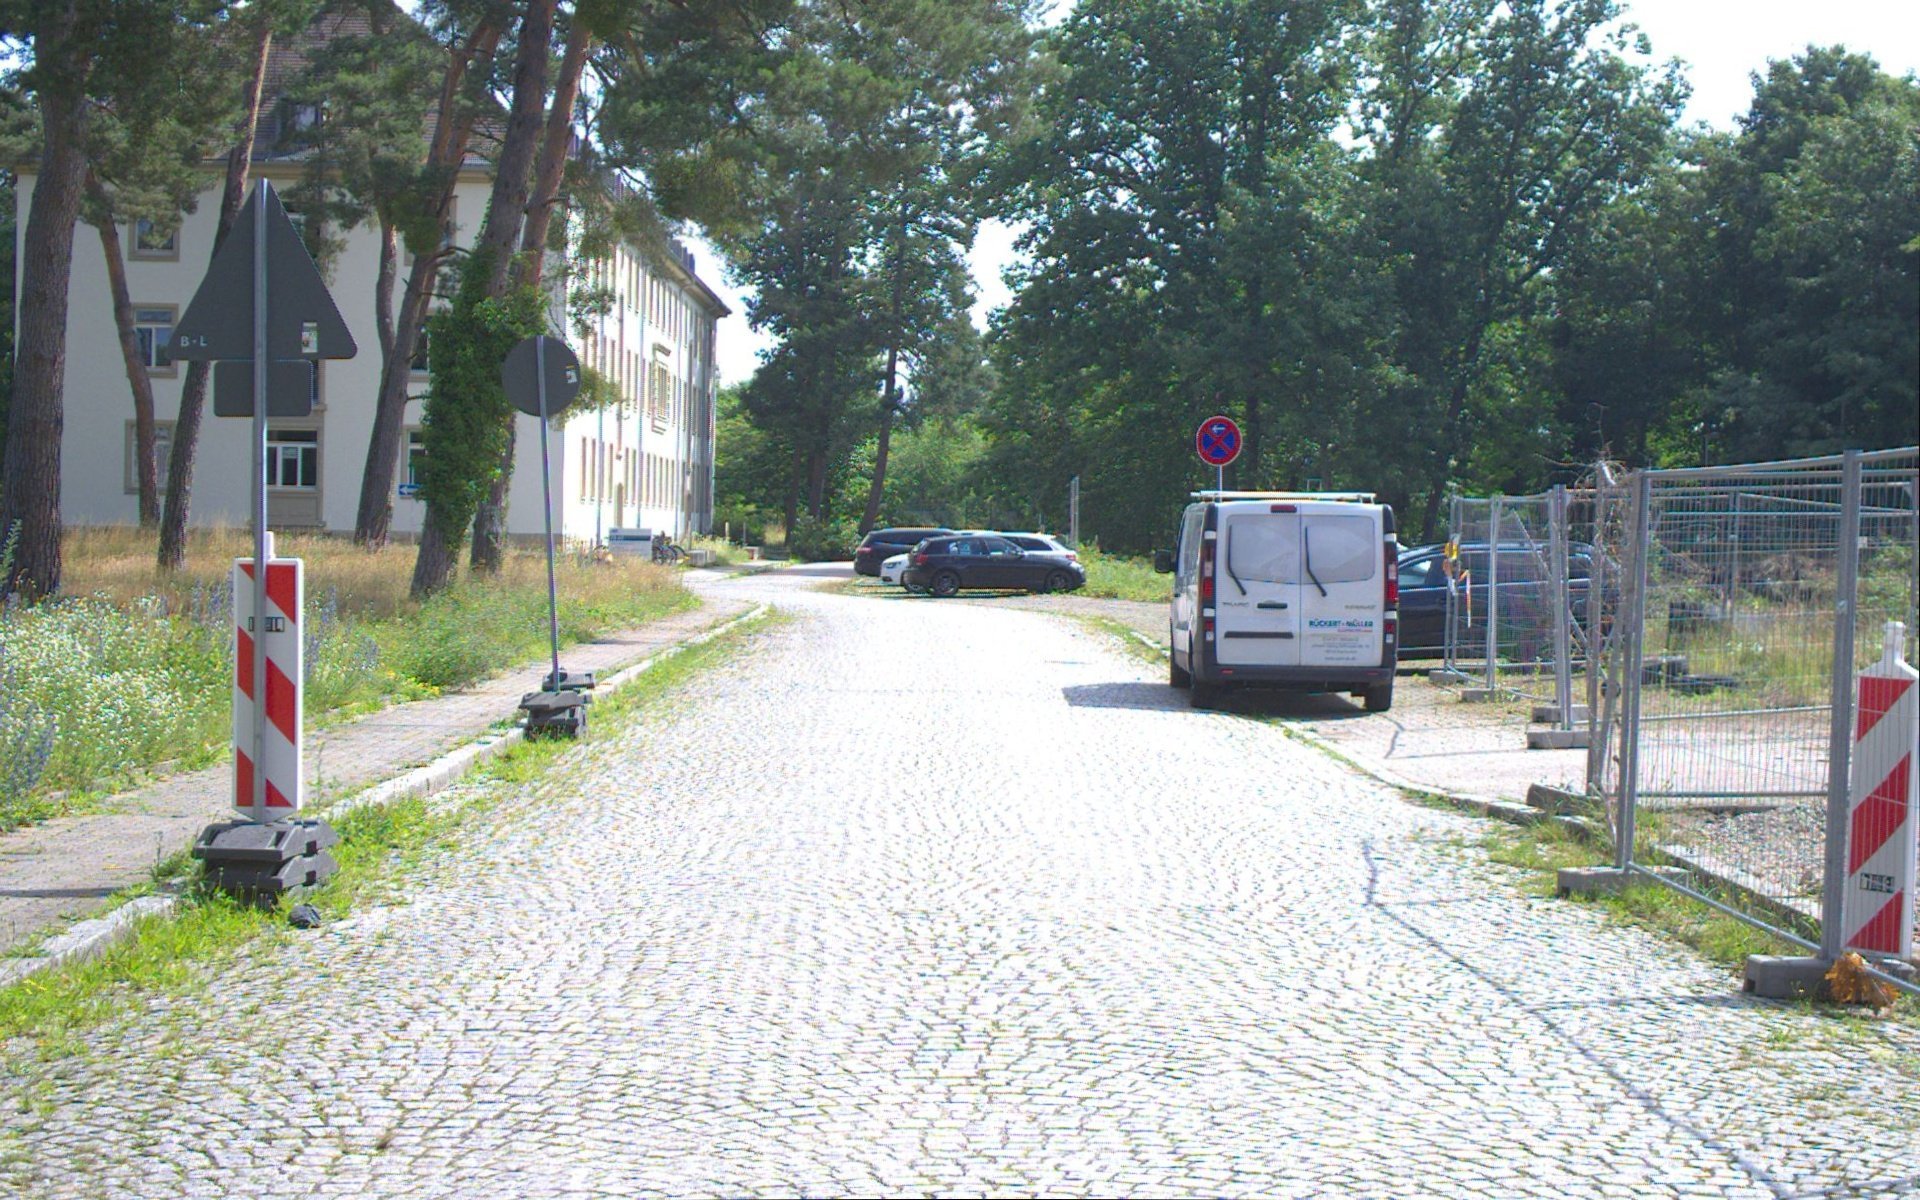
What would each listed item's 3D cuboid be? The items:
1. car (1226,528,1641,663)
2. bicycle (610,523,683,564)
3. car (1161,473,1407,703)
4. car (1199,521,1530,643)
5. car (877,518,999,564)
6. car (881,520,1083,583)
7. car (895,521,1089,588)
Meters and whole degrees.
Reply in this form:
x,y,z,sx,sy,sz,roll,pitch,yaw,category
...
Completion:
x,y,z,sx,sy,sz,roll,pitch,yaw,category
5.417,-0.070,39.638,4.453,1.470,1.746,-1,1,-4,car
-9.900,-1.782,108.628,2.222,1.256,0.623,1,1,2,bicycle
3.074,-0.166,33.695,1.914,2.046,5.679,1,1,1,car
5.180,-0.247,44.305,3.986,1.501,1.747,-1,1,-3,car
-0.757,-2.049,119.611,4.187,1.538,1.820,0,1,2,car
0.515,-1.203,84.140,4.861,1.467,1.875,0,2,-2,car
0.736,-1.090,81.057,4.323,1.495,1.830,-1,2,-8,car
